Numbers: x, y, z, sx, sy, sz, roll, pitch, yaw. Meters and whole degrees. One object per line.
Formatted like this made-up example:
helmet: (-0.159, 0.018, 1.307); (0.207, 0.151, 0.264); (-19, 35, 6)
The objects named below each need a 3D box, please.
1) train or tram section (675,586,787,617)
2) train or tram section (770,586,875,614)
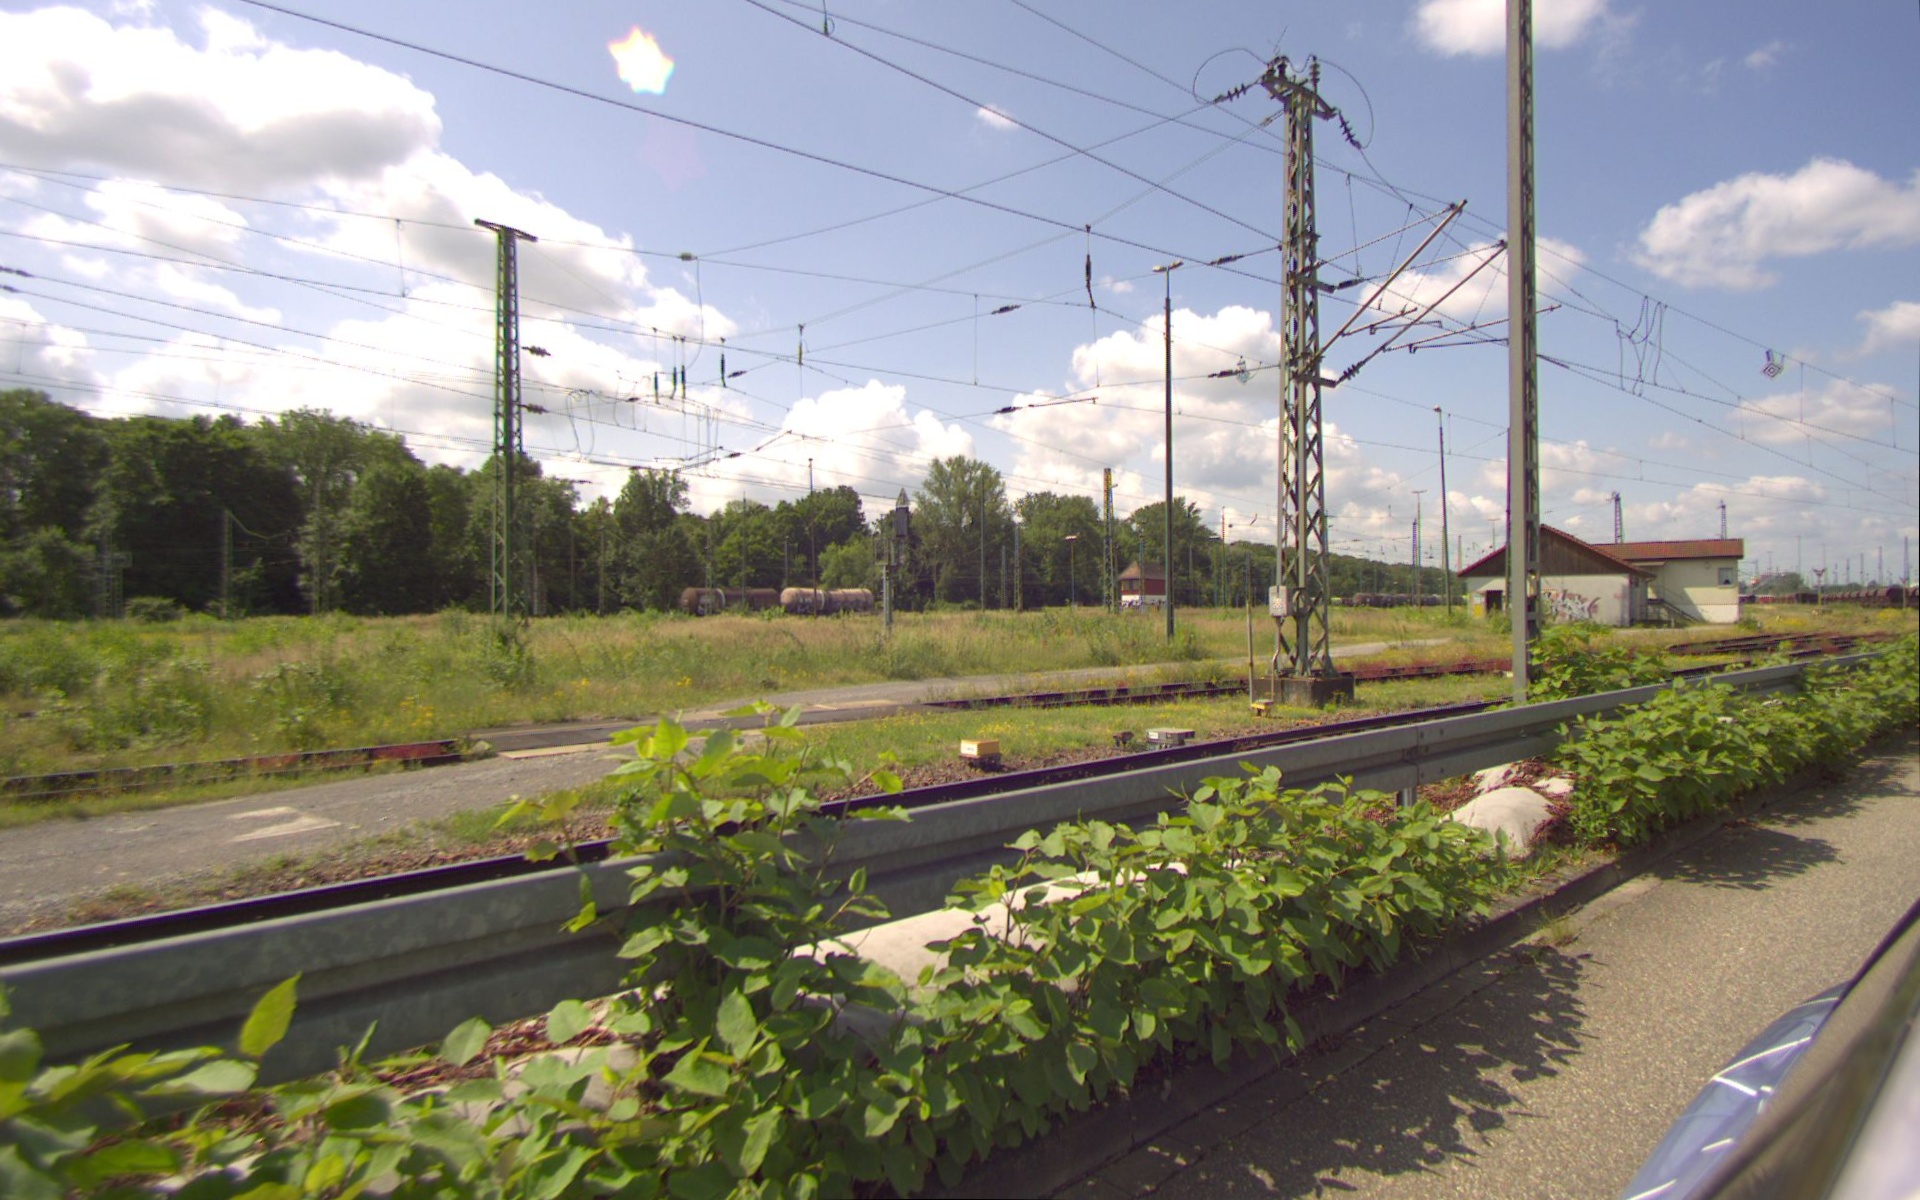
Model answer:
train or tram section: (-26.084, 0.120, 116.317); (3.018, 3.347, 13.749); (-1, 0, 38)
train or tram section: (-17.116, -0.082, 127.971); (3.018, 3.347, 15.545); (-1, 0, 38)
